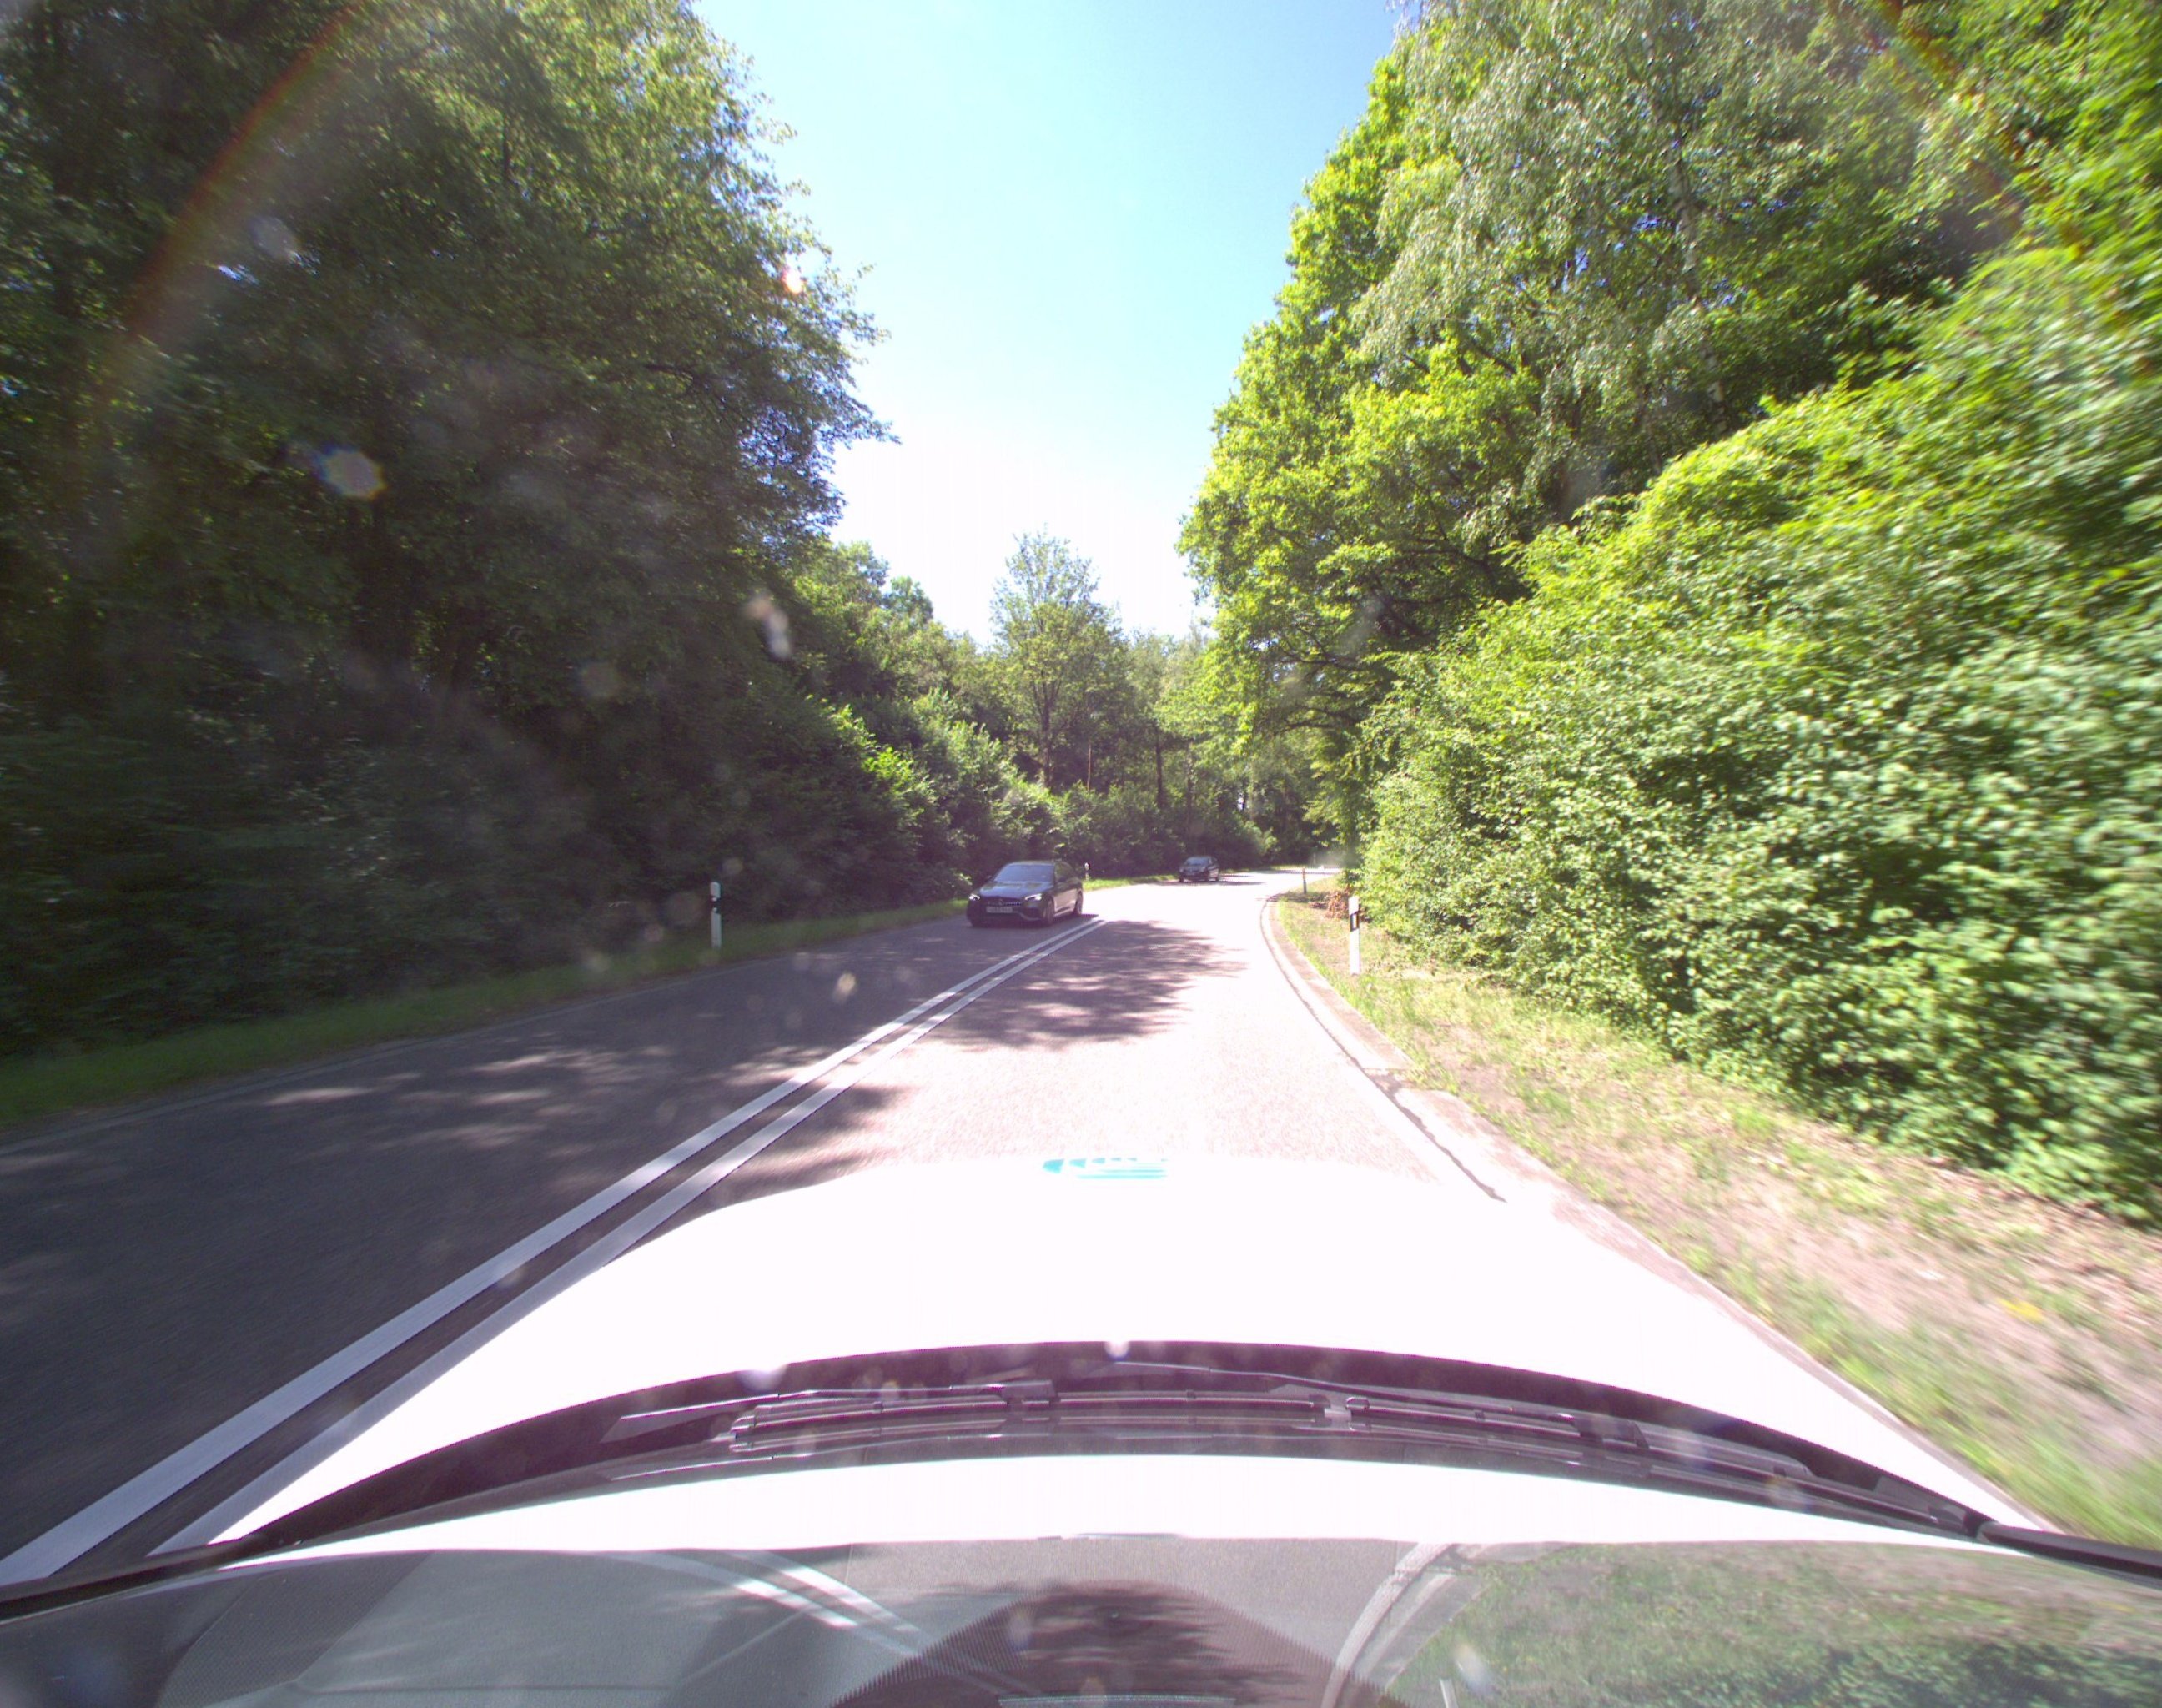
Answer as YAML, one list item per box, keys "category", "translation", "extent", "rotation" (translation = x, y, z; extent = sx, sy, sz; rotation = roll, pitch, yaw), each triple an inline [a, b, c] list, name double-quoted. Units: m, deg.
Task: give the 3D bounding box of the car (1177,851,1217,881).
- category: "car"
  translation: [6.604, 0.677, 46.093]
  extent: [1.665, 1.574, 3.910]
  rotation: [-2, -1, 15]

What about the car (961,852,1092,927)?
- category: "car"
  translation: [-1.145, 0.771, 19.425]
  extent: [1.743, 1.574, 4.385]
  rotation: [-1, -1, 15]
